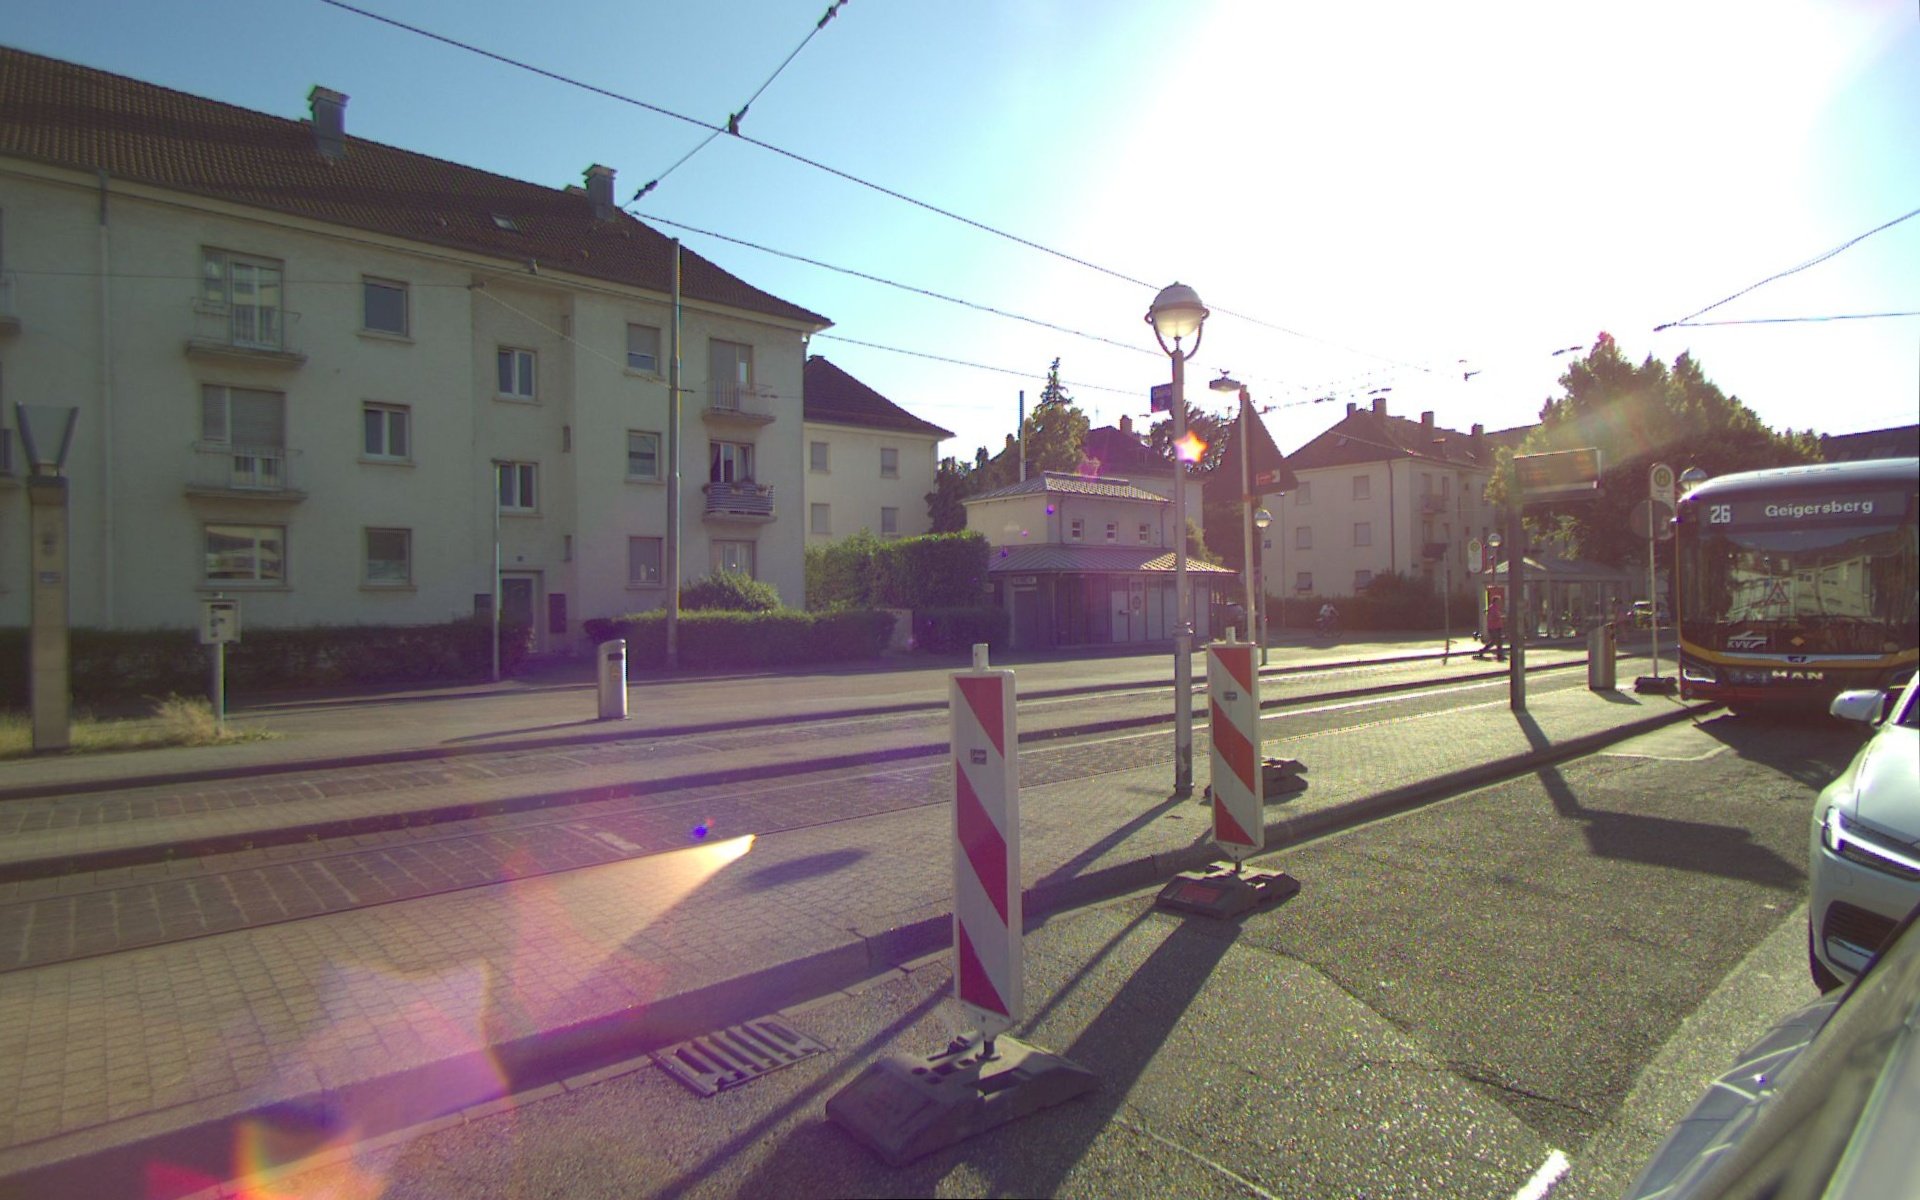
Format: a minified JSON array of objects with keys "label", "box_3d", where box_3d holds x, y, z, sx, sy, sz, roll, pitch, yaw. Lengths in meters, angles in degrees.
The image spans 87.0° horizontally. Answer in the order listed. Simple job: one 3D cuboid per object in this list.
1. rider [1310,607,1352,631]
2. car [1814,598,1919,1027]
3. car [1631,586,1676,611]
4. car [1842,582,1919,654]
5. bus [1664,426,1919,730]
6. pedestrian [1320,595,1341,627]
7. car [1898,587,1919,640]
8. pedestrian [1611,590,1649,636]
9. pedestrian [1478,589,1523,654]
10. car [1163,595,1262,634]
[{"label":"rider","box_3d":[16.376,0.832,44.708,0.568,1.004,1.861,0,0,-24]},{"label":"car","box_3d":[5.274,0.731,4.363,4.143,1.472,1.819,0,0,-41]},{"label":"car","box_3d":[53.778,-0.112,78.441,3.930,1.887,1.997,-1,0,-41]},{"label":"car","box_3d":[21.226,0.358,22.369,4.740,1.477,1.968,0,0,-41]},{"label":"bus","box_3d":[14.318,-0.265,15.851,11.824,3.345,2.745,0,0,-42]},{"label":"pedestrian","box_3d":[16.372,0.481,44.698,0.568,1.398,0.659,0,0,-24]},{"label":"car","box_3d":[28.785,0.368,29.235,4.740,1.477,1.968,0,0,-41]},{"label":"pedestrian","box_3d":[24.407,0.469,36.862,0.809,1.631,0.843,0,0,-2]},{"label":"pedestrian","box_3d":[14.636,0.569,27.409,0.811,1.740,0.841,0,0,-42]},{"label":"car","box_3d":[11.585,0.682,46.673,1.964,1.694,4.050,-1,-1,-39]}]
